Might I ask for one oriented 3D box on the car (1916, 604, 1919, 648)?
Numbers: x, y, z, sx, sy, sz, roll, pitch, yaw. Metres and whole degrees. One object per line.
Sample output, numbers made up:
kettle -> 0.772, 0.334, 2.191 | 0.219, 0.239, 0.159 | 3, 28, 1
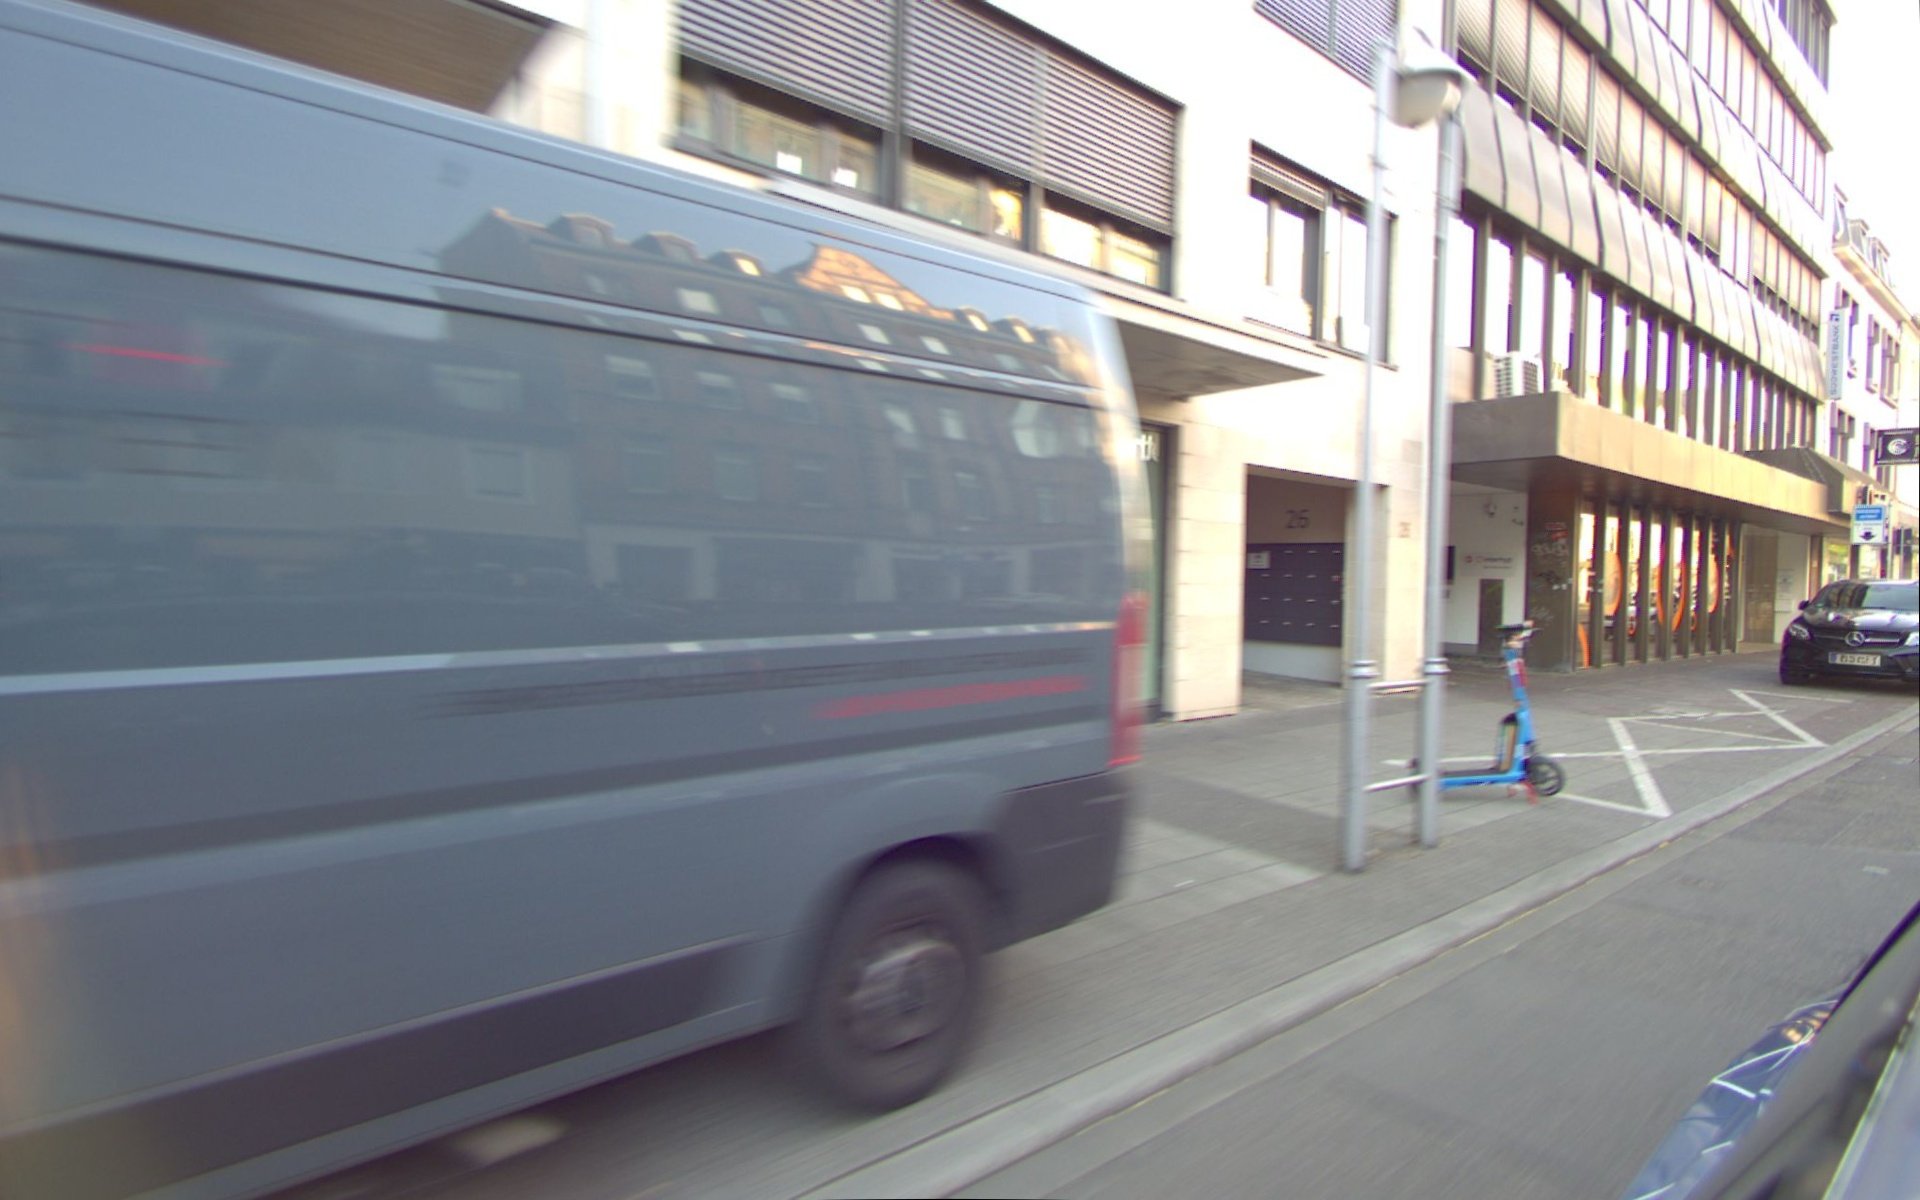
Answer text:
car -> 24.410, 0.415, 24.181 | 3.804, 1.503, 1.770 | 0, 4, -40

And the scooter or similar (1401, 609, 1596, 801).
scooter or similar -> 3.677, 0.710, 6.935 | 1.093, 1.238, 0.356 | 2, 3, -6

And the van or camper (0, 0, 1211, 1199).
van or camper -> -2.220, 0.049, 2.288 | 6.023, 2.455, 2.194 | 0, 4, -40

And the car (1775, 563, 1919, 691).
car -> 15.155, 0.365, 16.426 | 4.586, 1.755, 1.990 | 0, 4, -39
